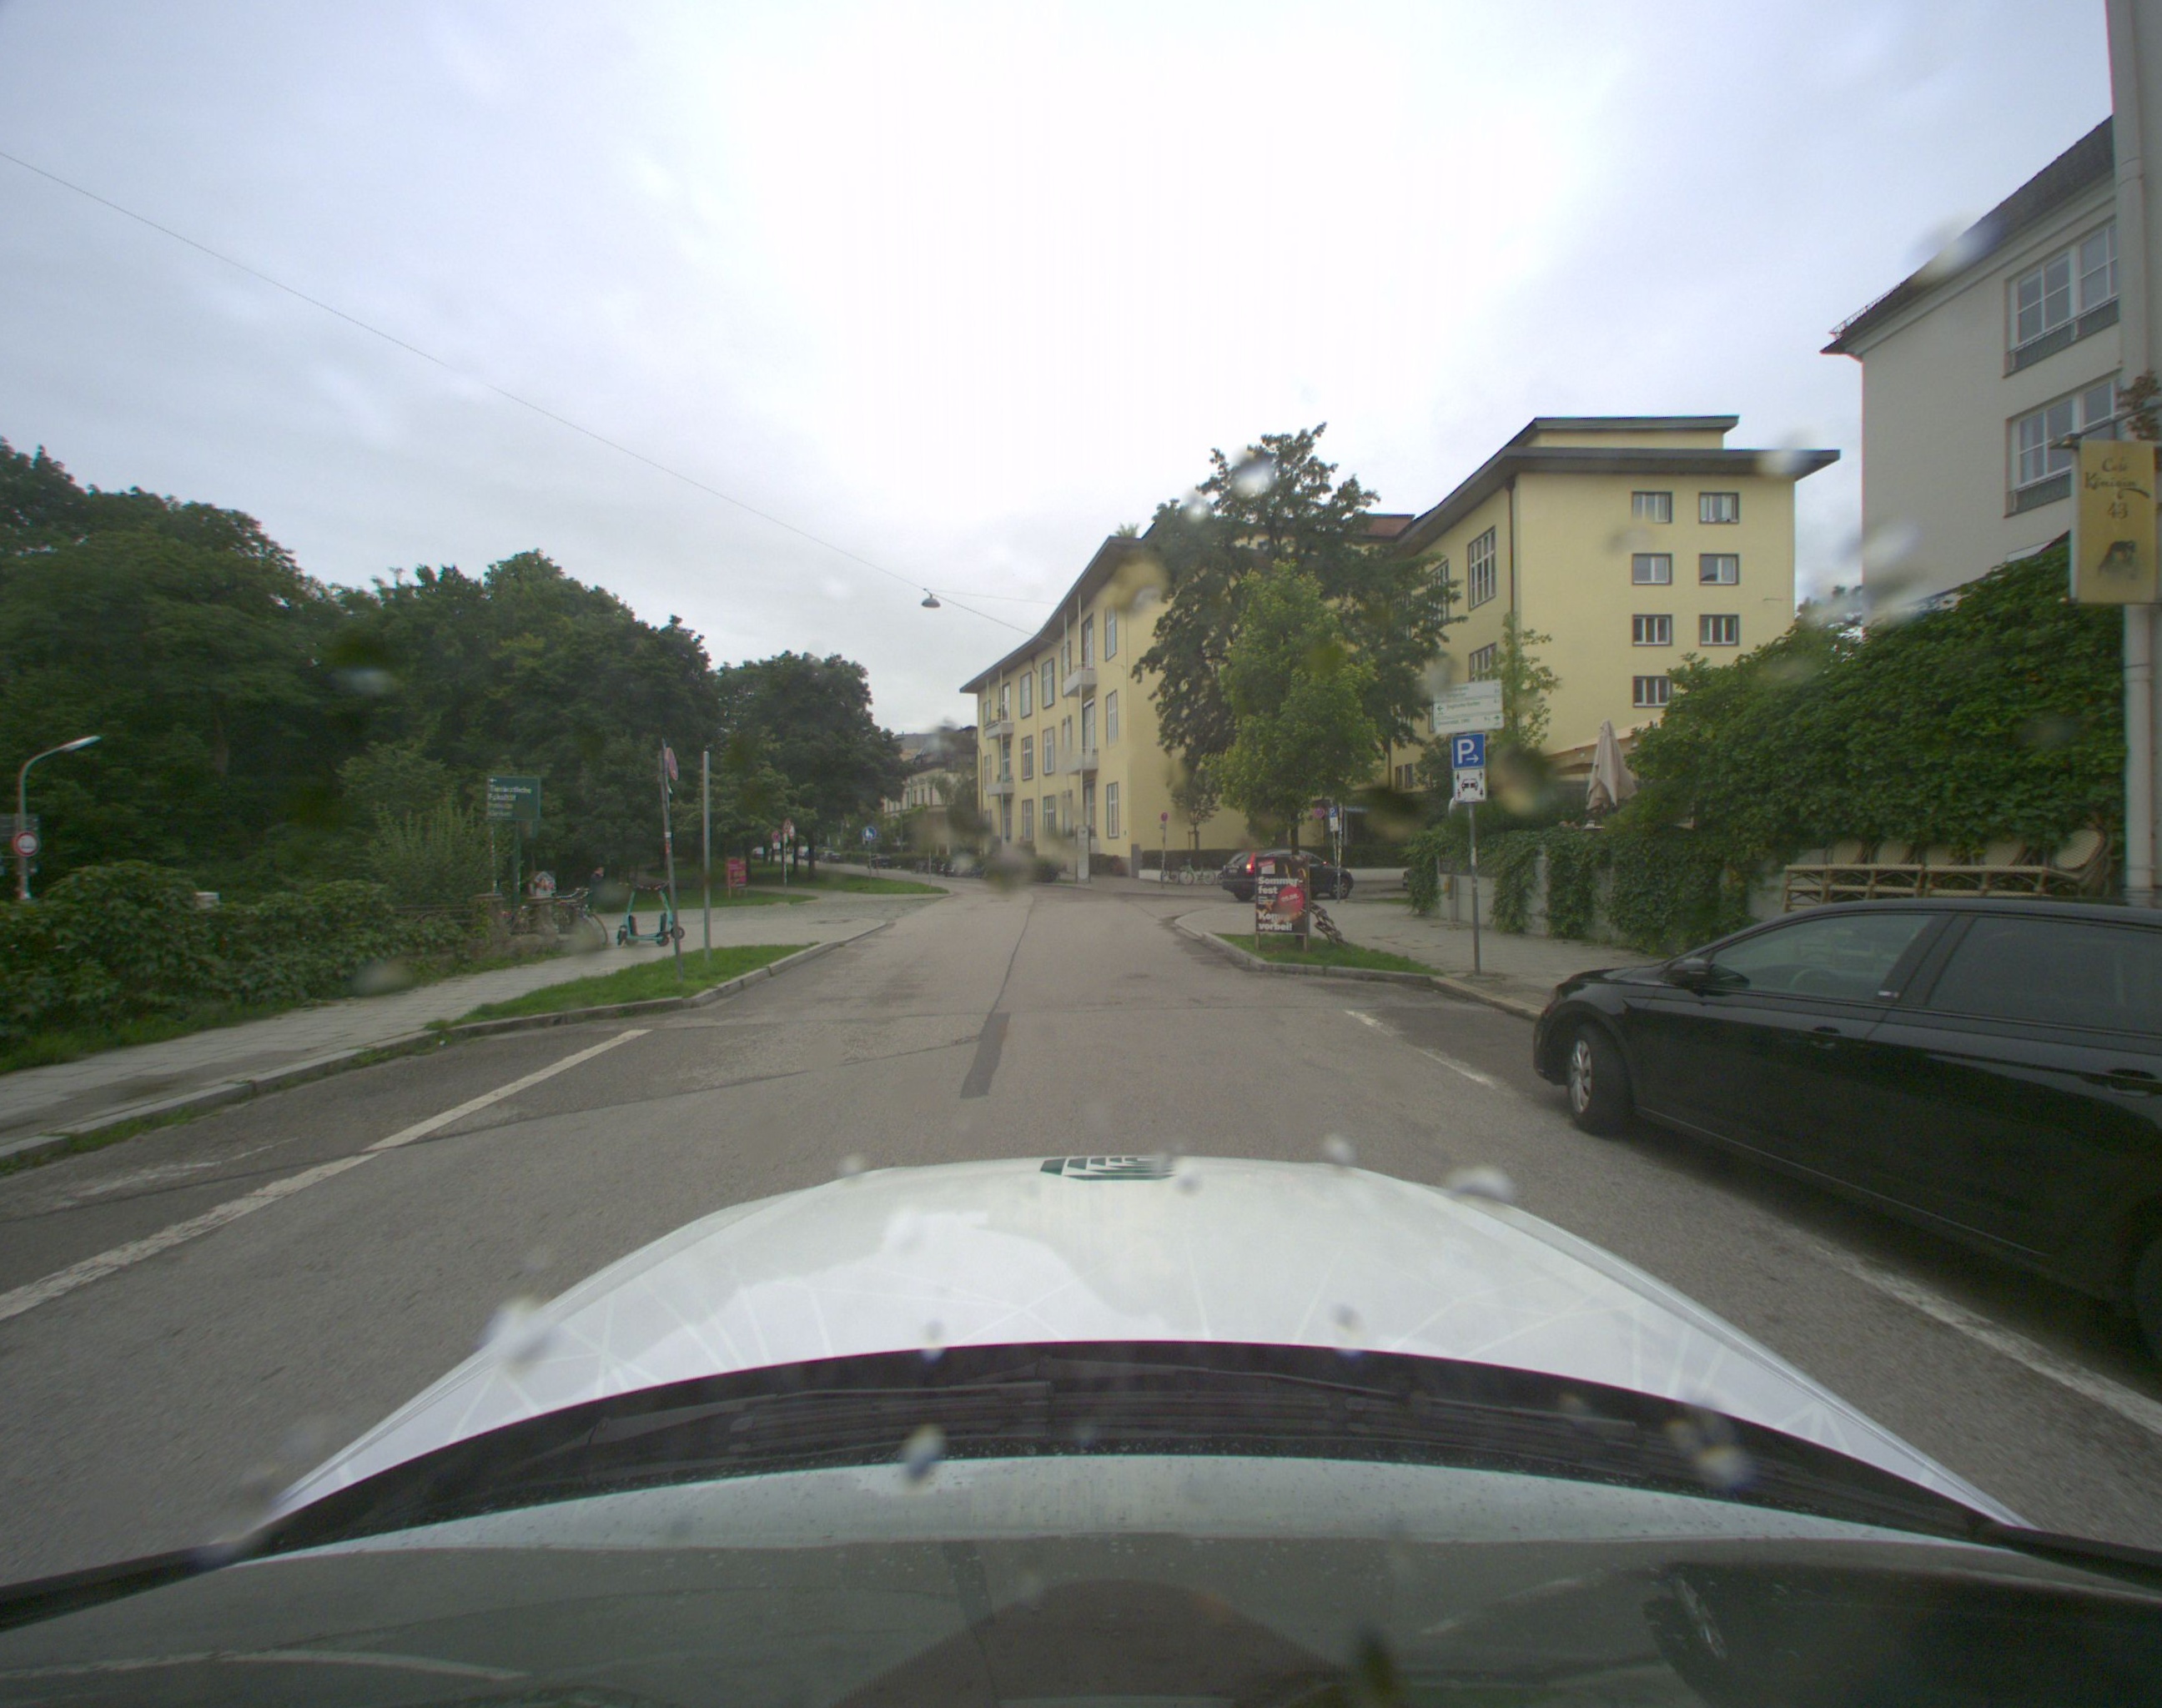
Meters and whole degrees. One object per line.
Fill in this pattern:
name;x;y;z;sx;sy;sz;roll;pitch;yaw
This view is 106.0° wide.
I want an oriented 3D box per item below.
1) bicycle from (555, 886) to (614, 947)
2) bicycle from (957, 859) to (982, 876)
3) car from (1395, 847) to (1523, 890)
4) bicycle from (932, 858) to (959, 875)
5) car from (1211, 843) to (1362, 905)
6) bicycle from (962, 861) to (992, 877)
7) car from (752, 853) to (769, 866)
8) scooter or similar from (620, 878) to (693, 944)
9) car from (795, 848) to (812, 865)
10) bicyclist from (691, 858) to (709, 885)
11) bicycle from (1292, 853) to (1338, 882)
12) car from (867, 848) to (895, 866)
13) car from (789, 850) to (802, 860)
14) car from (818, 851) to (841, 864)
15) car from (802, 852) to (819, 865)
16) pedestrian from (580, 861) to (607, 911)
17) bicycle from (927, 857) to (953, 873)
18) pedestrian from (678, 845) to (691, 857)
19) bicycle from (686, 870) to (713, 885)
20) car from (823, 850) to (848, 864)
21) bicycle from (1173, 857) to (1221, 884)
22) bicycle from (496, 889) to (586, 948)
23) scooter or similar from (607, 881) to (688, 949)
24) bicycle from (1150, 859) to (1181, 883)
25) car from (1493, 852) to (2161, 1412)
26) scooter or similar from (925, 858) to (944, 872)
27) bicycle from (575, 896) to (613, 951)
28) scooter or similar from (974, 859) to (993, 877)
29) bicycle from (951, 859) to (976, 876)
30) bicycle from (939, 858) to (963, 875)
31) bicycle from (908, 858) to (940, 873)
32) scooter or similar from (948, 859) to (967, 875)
bicycle;-10.239;1.254;16.765;1.482;1.134;0.658;-1;0;43
bicycle;-7.573;0.902;55.376;0.570;1.085;1.946;-1;1;31
car;13.931;0.528;30.137;3.963;1.435;1.605;-2;-1;0
bicycle;-9.528;0.867;57.376;0.689;1.085;2.352;-2;1;24
car;6.656;0.593;26.390;4.383;1.694;1.987;-3;1;-22
bicycle;-6.771;0.965;53.175;1.833;1.005;0.572;-2;1;-28
car;-45.974;0.764;116.899;2.004;1.838;3.966;-1;0;-26
scooter or similar;-8.625;1.140;16.583;0.441;1.220;1.189;-4;0;37
car;-43.664;0.365;128.061;1.885;2.568;4.890;-1;0;-26
bicyclist;-21.147;0.963;45.180;0.624;1.460;0.647;-1;0;11
bicycle;9.612;0.557;33.458;1.727;1.150;0.611;-1;0;3
car;-19.326;0.283;78.571;1.871;1.633;4.250;-1;0;-23
car;-48.462;0.186;138.396;1.653;1.652;4.248;-1;0;-25
car;-32.978;0.423;106.735;2.188;1.657;4.467;-1;0;-26
car;-39.732;0.657;119.539;1.885;1.816;3.966;-1;0;-26
pedestrian;-17.840;1.162;29.817;0.732;1.752;0.655;-1;0;-22
bicycle;-10.199;0.787;59.149;0.756;1.085;2.153;-2;1;24
pedestrian;-62.841;-0.465;129.076;1.022;1.945;1.336;-1;1;30
bicycle;-21.199;1.306;45.212;1.348;0.776;0.441;-1;0;10
car;-30.517;0.329;101.224;2.188;1.657;4.467;-1;0;-26
bicycle;4.977;0.688;35.075;0.613;1.117;2.190;-1;0;-42
bicycle;-11.704;1.403;17.659;1.718;1.134;0.657;-5;-1;19
scooter or similar;-8.402;1.167;15.804;1.173;1.220;0.602;-3;0;2
bicycle;3.853;0.762;37.318;0.610;1.072;2.205;-2;1;-17
car;3.746;0.797;3.520;1.700;1.518;3.954;3;0;-3
scooter or similar;-11.354;0.857;63.211;1.404;1.088;0.595;-2;0;-8
bicycle;-9.140;1.287;15.307;0.472;0.923;1.194;-1;0;-26
scooter or similar;-6.206;0.877;51.881;0.490;1.109;1.418;-2;1;27
bicycle;-8.060;0.925;55.940;0.570;1.085;1.946;-1;1;31
bicycle;-9.025;0.860;56.645;0.631;1.085;1.997;-2;1;24
bicycle;-12.520;0.875;64.893;2.346;1.085;0.686;-2;1;-31
scooter or similar;-8.523;0.906;56.300;0.490;1.088;1.418;-2;1;27
